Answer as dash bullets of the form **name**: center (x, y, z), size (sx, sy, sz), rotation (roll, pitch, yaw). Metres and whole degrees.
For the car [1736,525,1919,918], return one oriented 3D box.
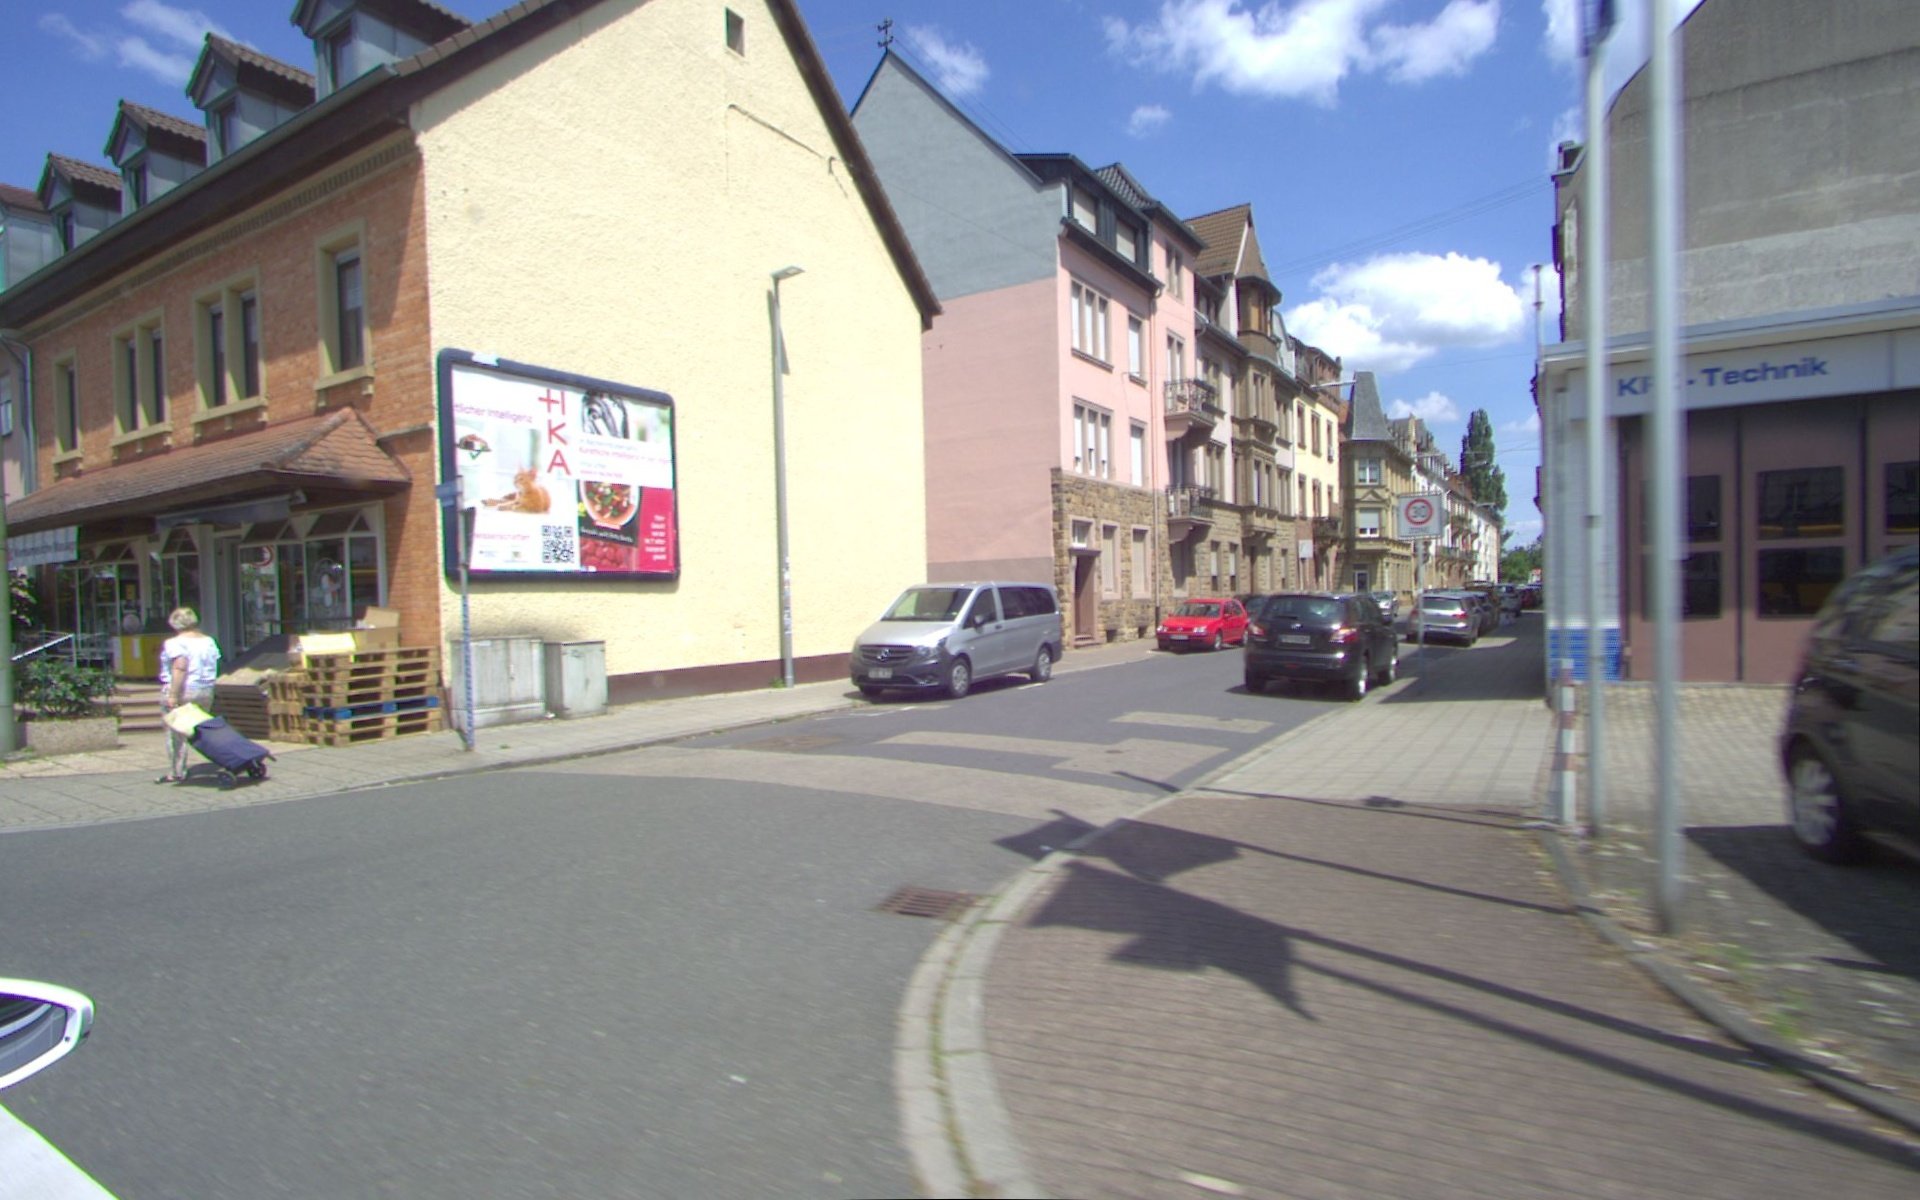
- **car**: center (4.583, 0.450, 3.501), size (1.811, 1.563, 3.880), rotation (-2, -1, 20)

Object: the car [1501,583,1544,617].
- **car**: center (27.995, 0.037, 49.789), size (1.628, 1.527, 3.980), rotation (-3, -3, 32)

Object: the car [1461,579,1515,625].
- **car**: center (22.180, 0.130, 42.029), size (1.628, 1.723, 3.980), rotation (-3, -3, 32)

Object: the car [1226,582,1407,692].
- **car**: center (5.916, 0.537, 16.342), size (1.818, 1.563, 3.864), rotation (-2, -1, 35)

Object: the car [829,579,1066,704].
- **car**: center (-0.017, 0.640, 17.675), size (1.880, 1.886, 5.047), rotation (-2, -1, 29)

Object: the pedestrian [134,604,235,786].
- **pedestrian**: center (-7.509, 0.884, 9.729), size (0.698, 1.664, 0.655), rotation (-2, 3, -37)

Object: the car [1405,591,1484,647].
- **car**: center (14.436, 0.594, 29.725), size (1.628, 1.527, 3.980), rotation (-3, -3, 32)

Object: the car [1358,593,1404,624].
- **car**: center (22.763, 0.476, 54.093), size (1.628, 1.527, 3.980), rotation (-3, -3, 32)

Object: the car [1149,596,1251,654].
- **car**: center (6.943, 0.738, 28.697), size (1.628, 1.527, 3.980), rotation (-3, -3, 32)
